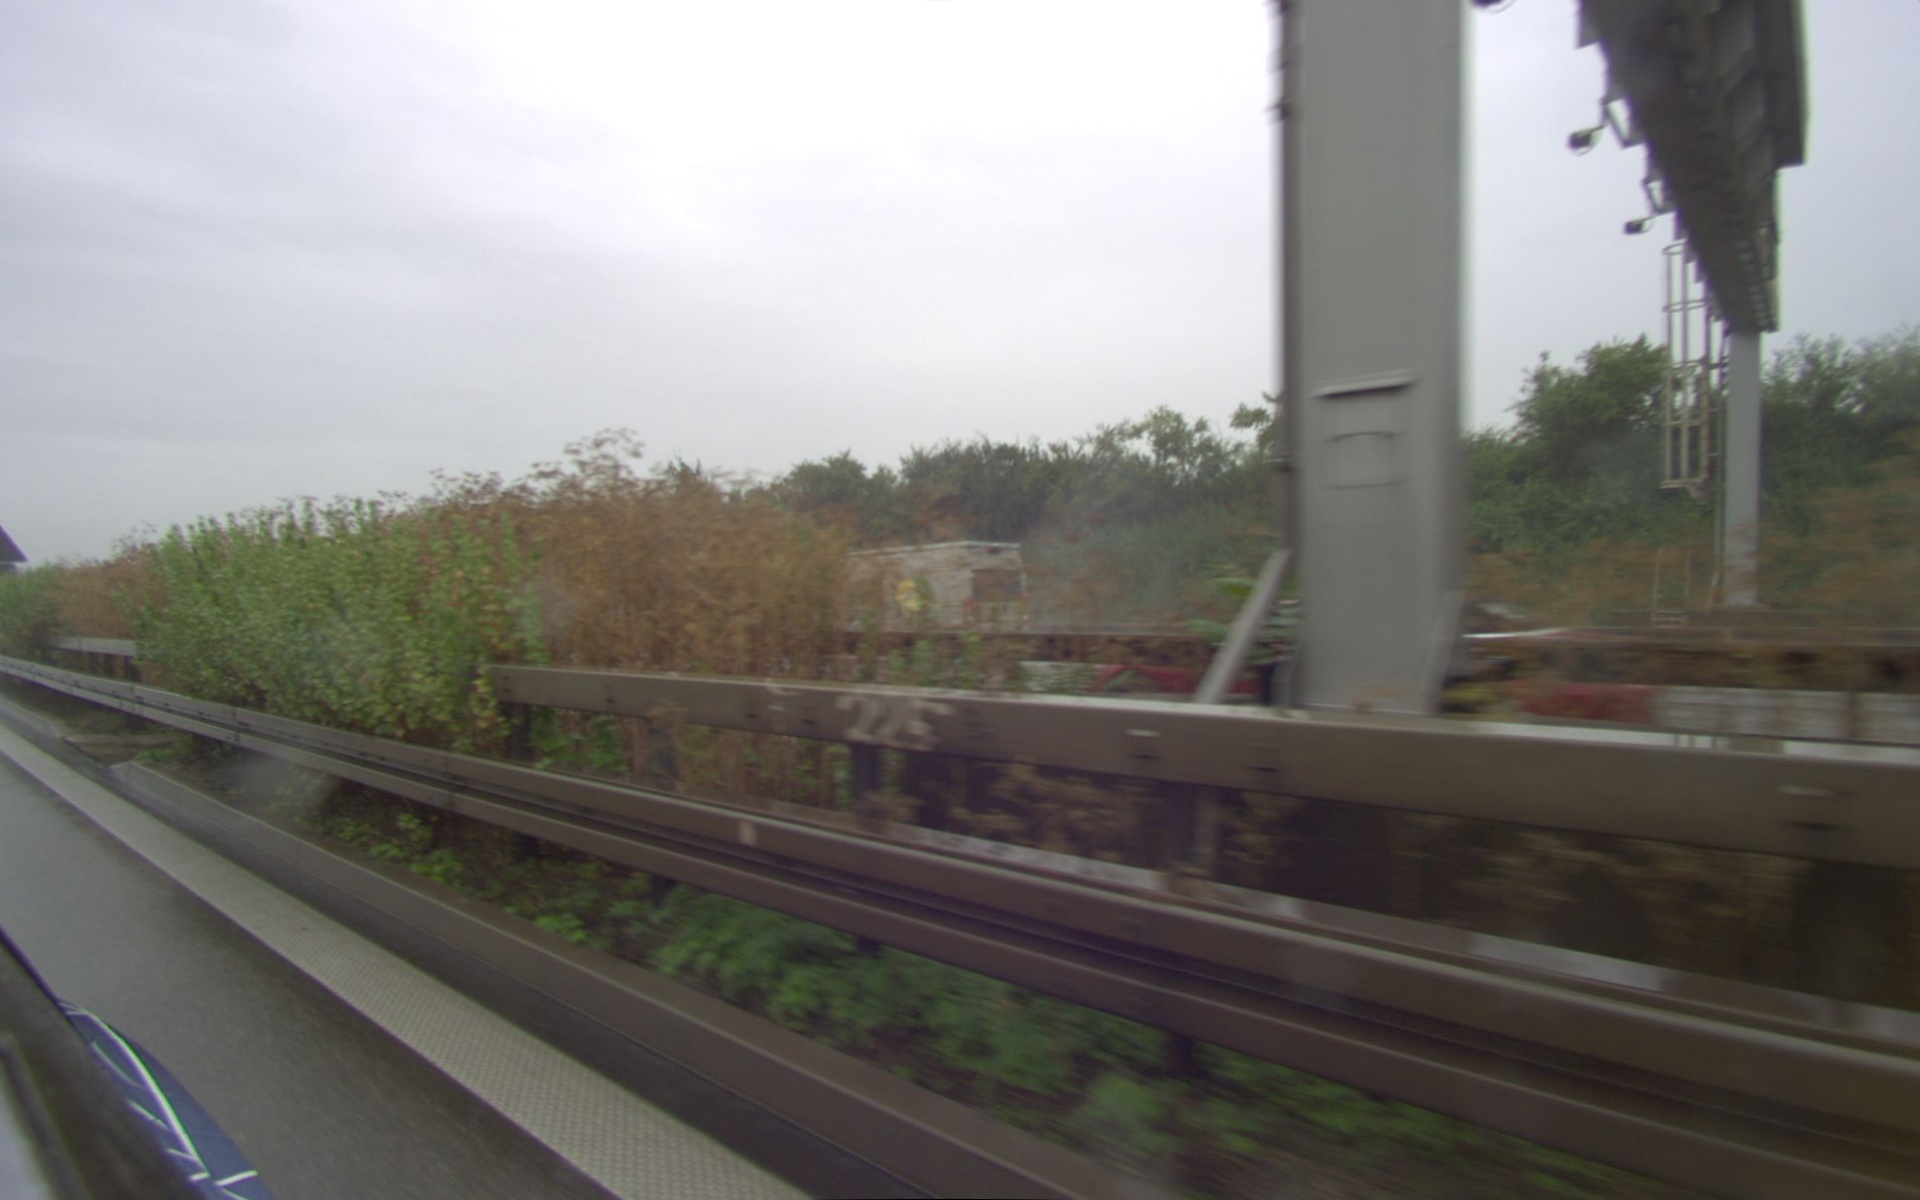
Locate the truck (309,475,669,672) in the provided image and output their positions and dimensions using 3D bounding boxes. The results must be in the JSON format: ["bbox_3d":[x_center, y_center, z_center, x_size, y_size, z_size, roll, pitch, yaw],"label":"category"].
[{"bbox_3d":[-16.687,-0.469,34.057,18.231,5.082,4.653,-2,-1,44],"label":"truck"}]

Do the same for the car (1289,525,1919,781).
[{"bbox_3d":[5.175,0.314,7.232,5.000,1.453,1.974,-1,-1,39],"label":"car"}]
